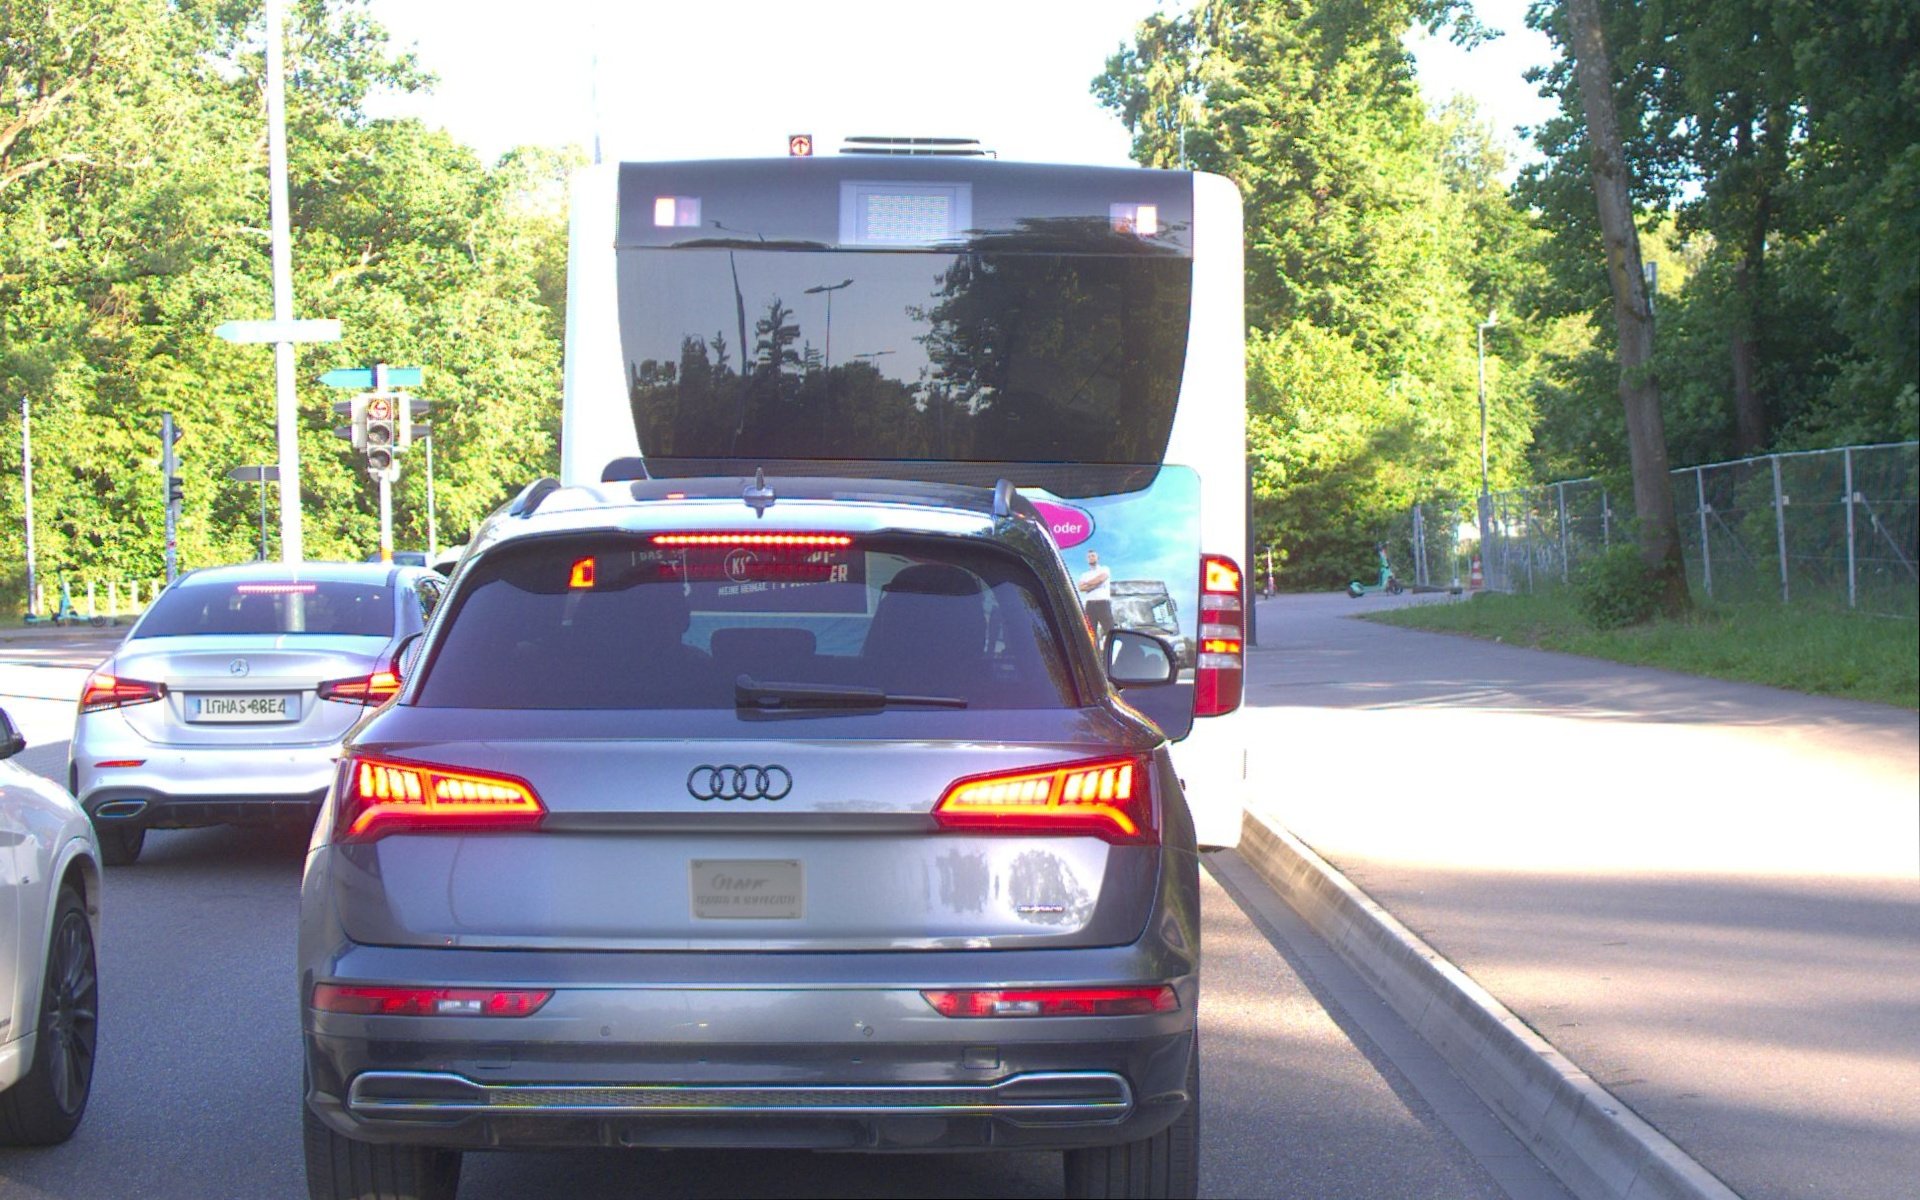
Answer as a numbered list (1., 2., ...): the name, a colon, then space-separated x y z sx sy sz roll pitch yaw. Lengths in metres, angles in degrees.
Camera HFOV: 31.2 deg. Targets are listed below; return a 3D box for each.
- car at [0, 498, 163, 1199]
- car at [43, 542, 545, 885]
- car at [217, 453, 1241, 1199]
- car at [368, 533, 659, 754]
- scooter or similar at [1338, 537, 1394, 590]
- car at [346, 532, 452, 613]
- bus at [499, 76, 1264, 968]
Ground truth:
1. car: -2.969 0.567 6.983 1.718 1.575 4.434 1 1 -1
2. car: -3.192 0.467 17.276 1.785 1.439 4.278 1 2 -2
3. car: -0.451 0.515 8.338 1.868 1.658 4.000 1 2 -1
4. car: -3.457 0.281 27.256 1.808 1.567 4.000 1 2 -1
5. scooter or similar: 9.209 -0.825 77.936 1.184 1.170 0.659 1 1 11
6. car: -12.211 -0.615 75.039 1.993 1.656 4.001 -2 1 -6
7. bus: -0.253 -0.355 15.161 2.678 3.131 5.882 1 2 1
